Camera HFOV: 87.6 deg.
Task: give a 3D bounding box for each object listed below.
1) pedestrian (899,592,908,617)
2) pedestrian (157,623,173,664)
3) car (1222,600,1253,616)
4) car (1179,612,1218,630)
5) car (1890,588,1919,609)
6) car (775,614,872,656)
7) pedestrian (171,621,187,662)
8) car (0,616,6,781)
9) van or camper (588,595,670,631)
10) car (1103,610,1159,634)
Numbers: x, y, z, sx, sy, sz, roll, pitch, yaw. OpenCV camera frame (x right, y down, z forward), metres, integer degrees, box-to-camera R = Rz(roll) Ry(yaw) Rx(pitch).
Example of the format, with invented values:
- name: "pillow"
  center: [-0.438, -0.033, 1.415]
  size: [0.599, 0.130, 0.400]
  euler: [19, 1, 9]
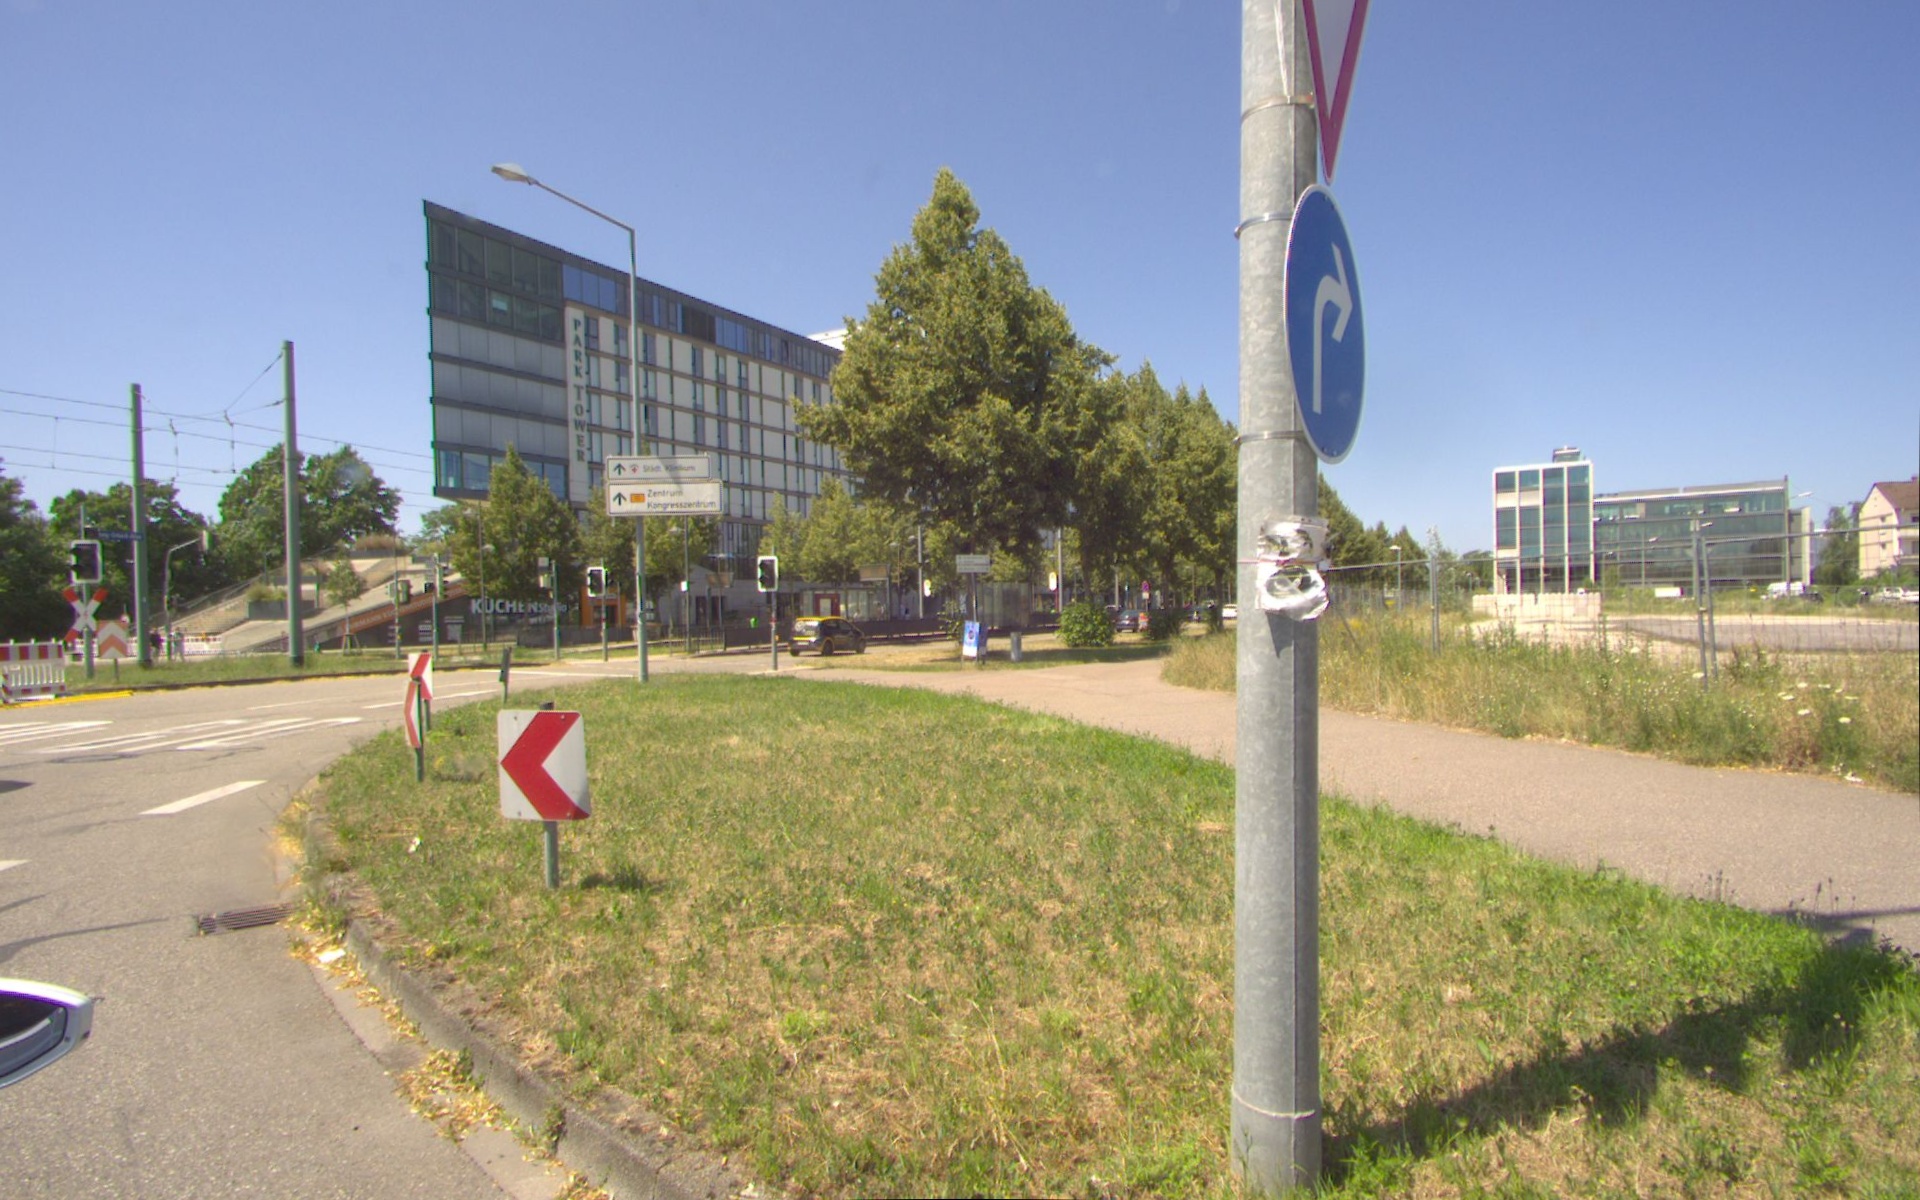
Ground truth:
- name: "pedestrian"
  center: [-4.004, 0.325, 71.023]
  size: [0.404, 1.775, 0.584]
  euler: [-1, 0, 27]
- name: "pedestrian"
  center: [-34.172, 1.862, 43.065]
  size: [0.287, 1.762, 0.447]
  euler: [-1, 0, 29]
- name: "car"
  center: [26.656, 0.823, 96.161]
  size: [1.829, 1.467, 4.332]
  euler: [-1, -2, 30]
- name: "car"
  center: [20.433, 1.769, 85.714]
  size: [1.971, 1.467, 4.737]
  euler: [-1, -2, 30]
- name: "car"
  center: [76.319, -0.119, 80.264]
  size: [1.654, 1.606, 3.609]
  euler: [-2, -2, 27]
- name: "car"
  center: [-5.106, 1.307, 37.940]
  size: [1.599, 1.470, 3.969]
  euler: [-1, -2, 29]
- name: "pedestrian"
  center: [-33.951, 1.807, 43.511]
  size: [0.313, 1.762, 0.447]
  euler: [-1, 0, 29]
- name: "car"
  center: [-9.057, 0.848, 6.317]
  size: [1.822, 1.455, 4.953]
  euler: [-1, -1, -8]
- name: "van or camper"
  center: [-27.371, 1.091, 83.097]
  size: [2.346, 2.859, 6.761]
  euler: [-1, -1, 27]
- name: "car"
  center: [10.809, 1.378, 63.104]
  size: [1.971, 1.467, 4.628]
  euler: [-1, -2, 31]
